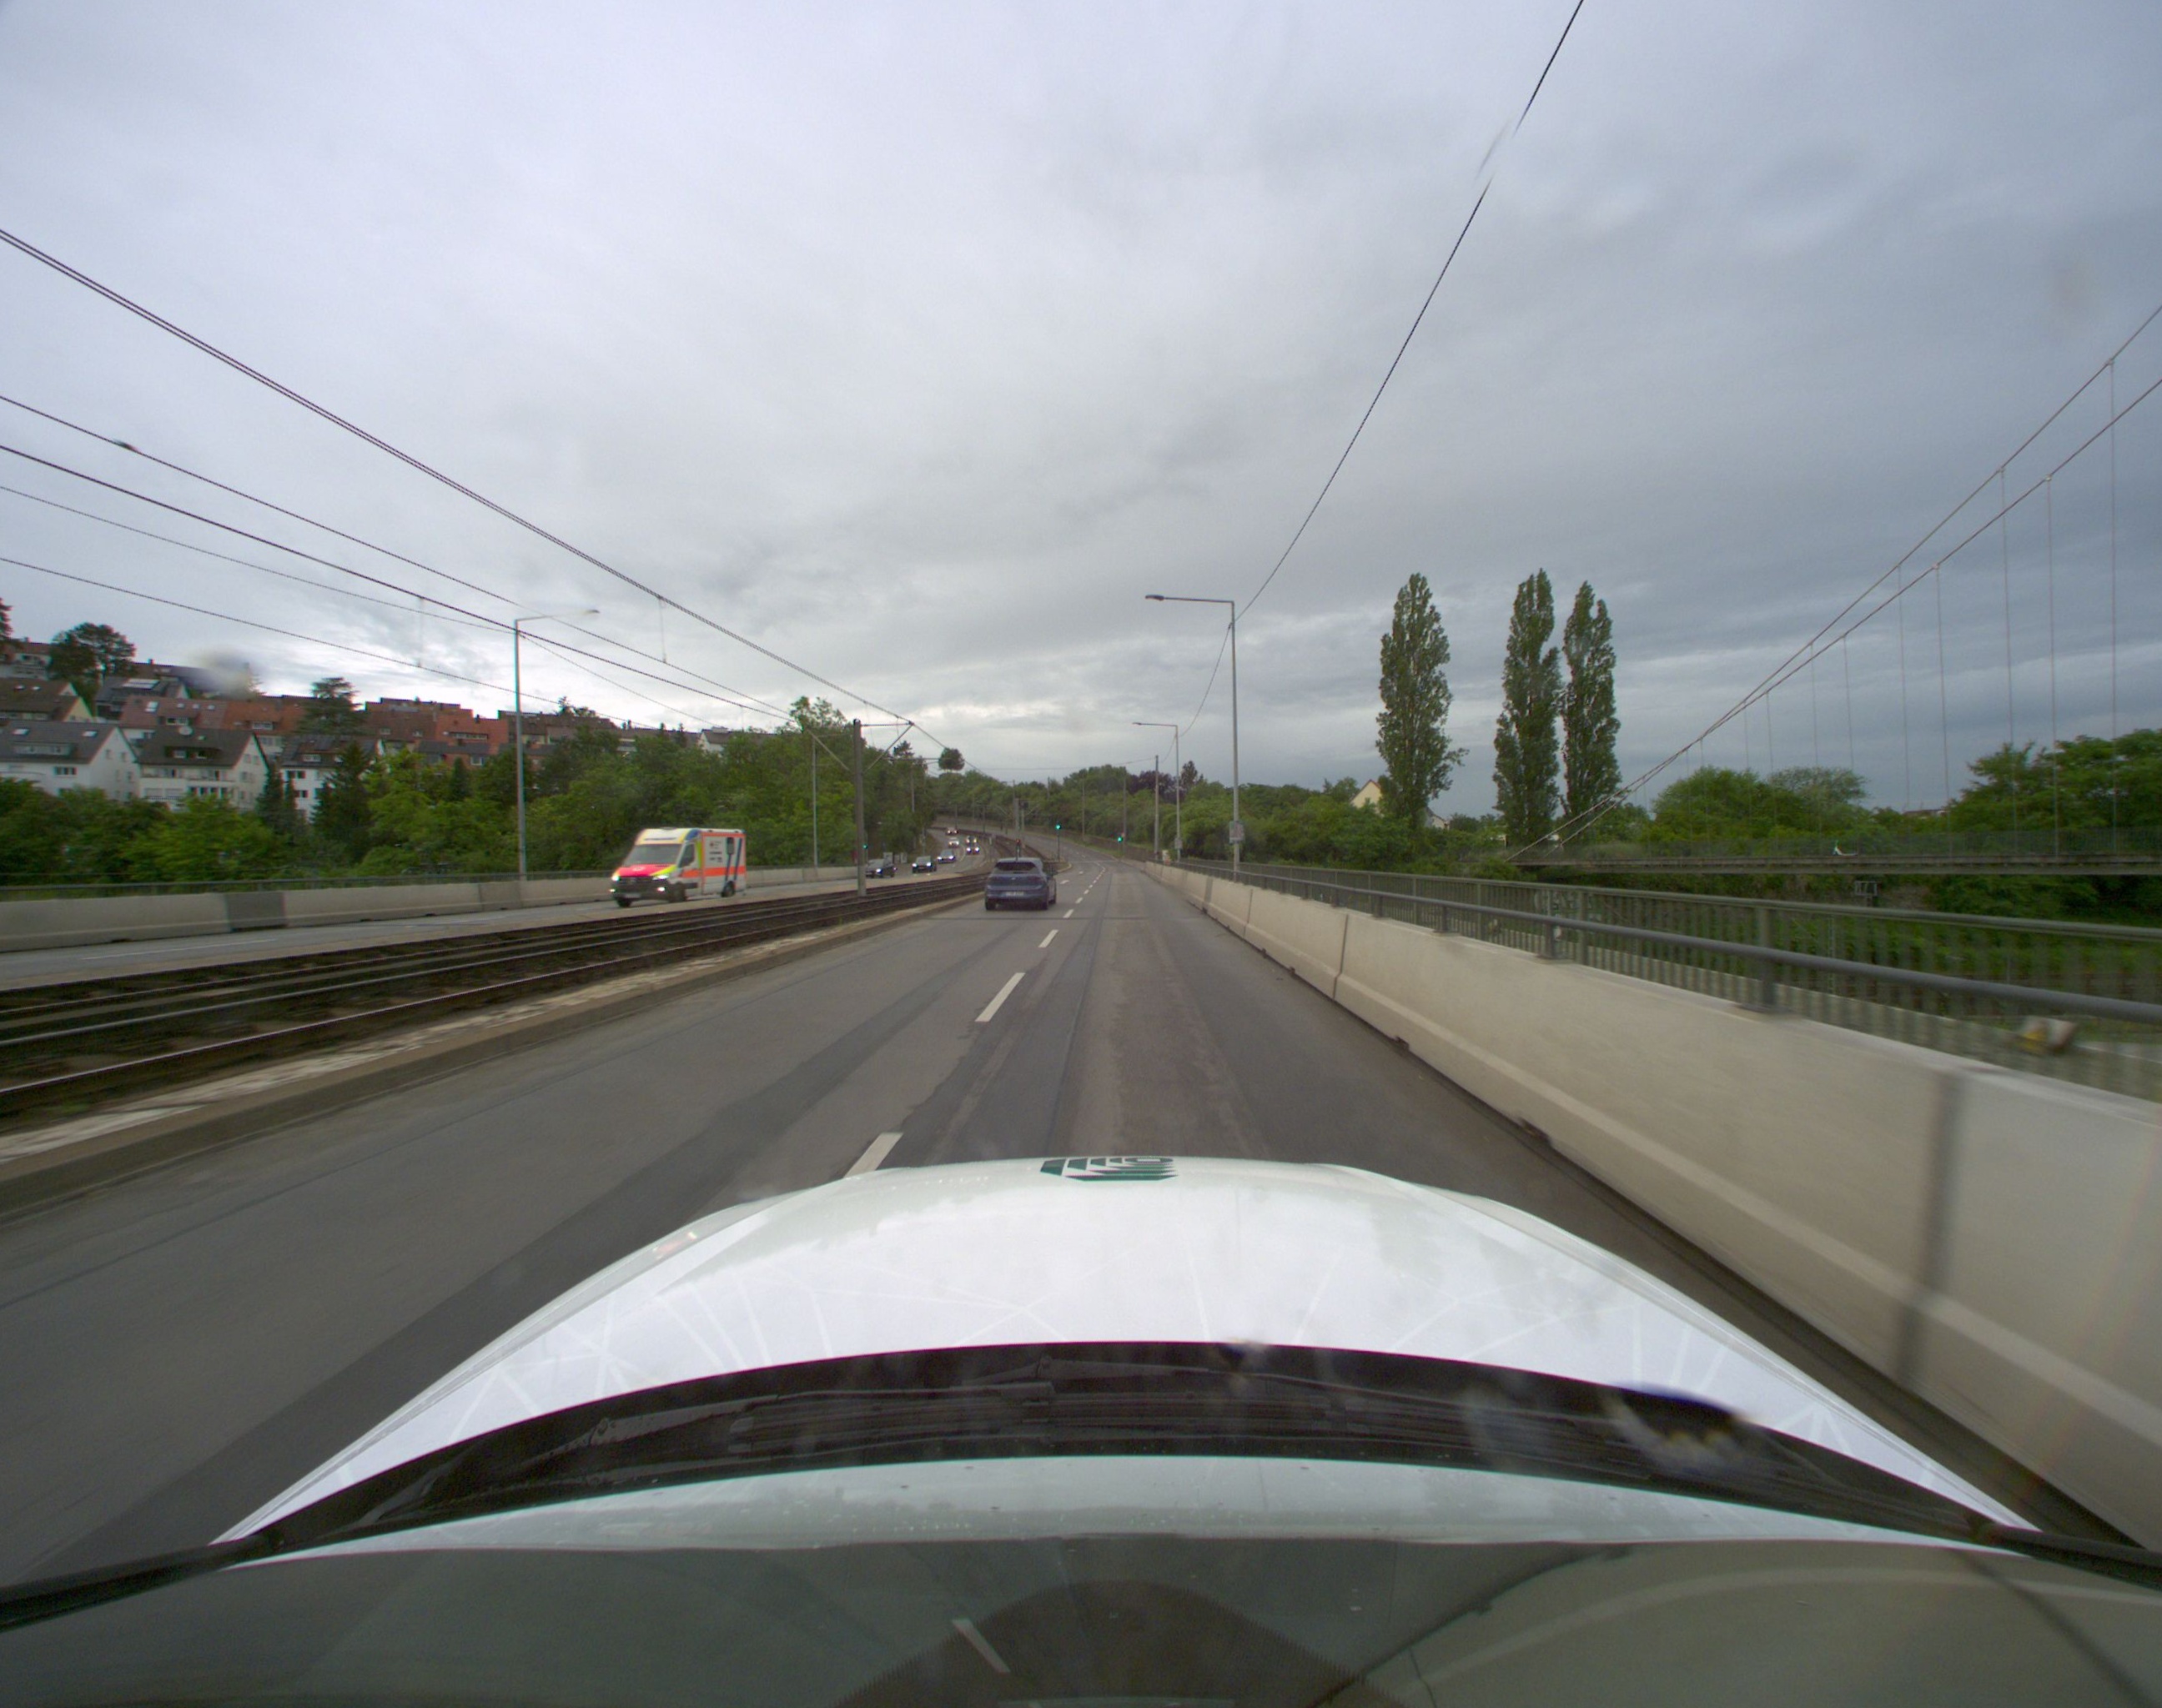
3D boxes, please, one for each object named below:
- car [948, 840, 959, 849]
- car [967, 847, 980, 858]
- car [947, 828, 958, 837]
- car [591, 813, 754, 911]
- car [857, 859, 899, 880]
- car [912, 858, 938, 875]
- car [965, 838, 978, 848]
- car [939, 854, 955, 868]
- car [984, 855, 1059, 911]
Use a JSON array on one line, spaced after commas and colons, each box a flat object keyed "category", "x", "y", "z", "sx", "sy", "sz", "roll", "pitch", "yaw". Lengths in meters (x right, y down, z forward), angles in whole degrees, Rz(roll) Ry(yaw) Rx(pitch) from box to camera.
[{"category": "car", "x": -21.037, "y": -1.556, "z": 134.299, "sx": 1.820, "sy": 1.515, "sz": 4.515, "roll": -1, "pitch": 0, "yaw": -9}, {"category": "car", "x": -15.404, "y": -0.258, "z": 116.440, "sx": 1.602, "sy": 1.493, "sz": 3.006, "roll": -2, "pitch": 1, "yaw": -12}, {"category": "car", "x": -27.717, "y": -4.661, "z": 175.542, "sx": 1.851, "sy": 1.596, "sz": 4.713, "roll": -3, "pitch": 7, "yaw": -14}, {"category": "car", "x": -14.310, "y": 0.280, "z": 29.136, "sx": 2.380, "sy": 3.115, "sz": 6.360, "roll": 0, "pitch": 0, "yaw": 2}, {"category": "car", "x": -15.632, "y": 1.164, "z": 63.006, "sx": 1.809, "sy": 1.436, "sz": 4.745, "roll": -1, "pitch": 0, "yaw": 3}, {"category": "car", "x": -15.612, "y": 1.218, "z": 81.852, "sx": 1.892, "sy": 1.597, "sz": 4.727, "roll": -2, "pitch": 0, "yaw": -3}, {"category": "car", "x": -18.859, "y": -1.915, "z": 140.450, "sx": 1.733, "sy": 1.437, "sz": 4.469, "roll": -2, "pitch": -1, "yaw": -15}, {"category": "car", "x": -16.733, "y": 0.915, "z": 101.543, "sx": 1.969, "sy": 1.597, "sz": 5.166, "roll": -2, "pitch": -1, "yaw": -10}, {"category": "car", "x": -1.661, "y": 0.784, "z": 23.914, "sx": 1.757, "sy": 1.501, "sz": 4.002, "roll": 0, "pitch": 0, "yaw": 2}]
